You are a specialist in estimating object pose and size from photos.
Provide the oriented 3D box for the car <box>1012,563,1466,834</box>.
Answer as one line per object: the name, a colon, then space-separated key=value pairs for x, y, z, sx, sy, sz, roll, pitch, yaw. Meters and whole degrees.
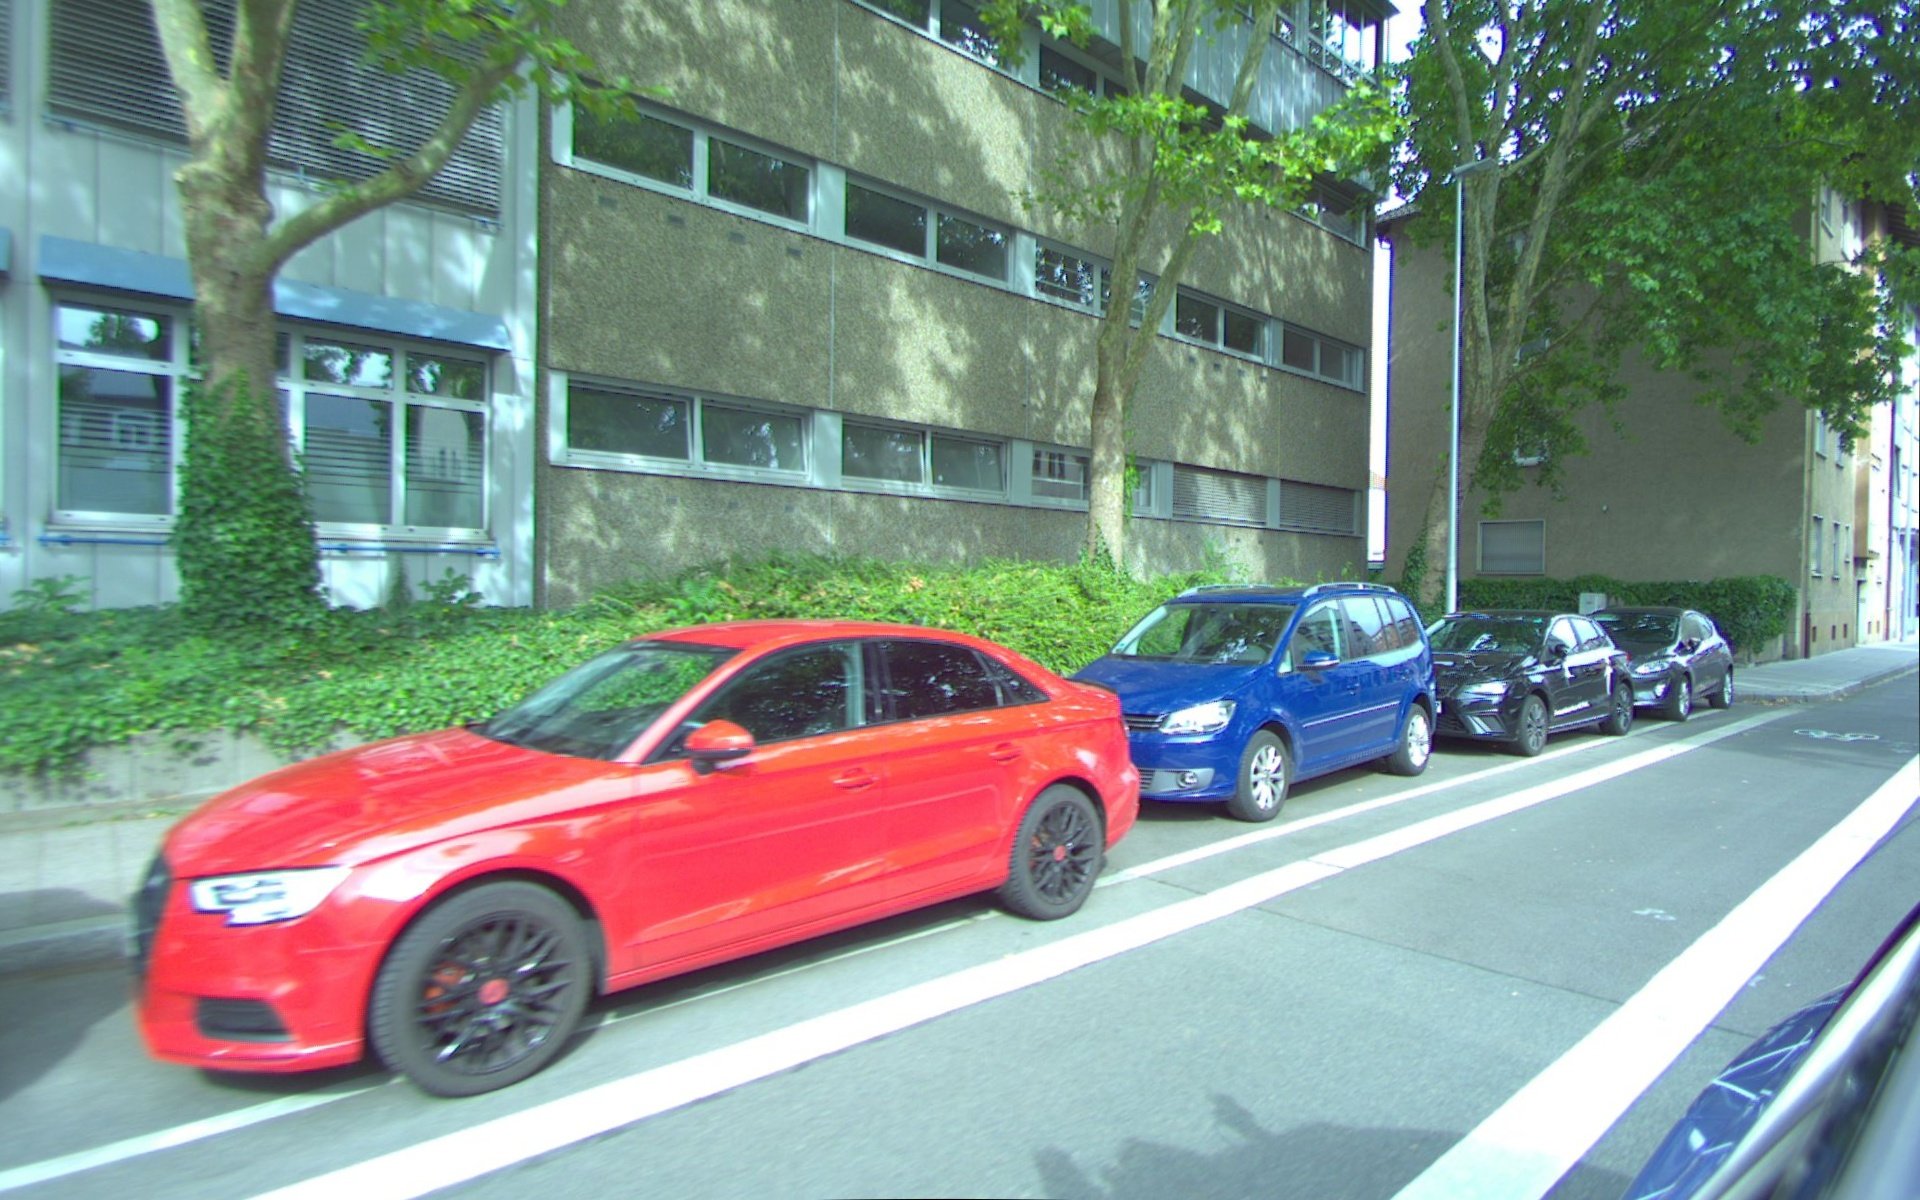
car: x=2.509 y=0.610 z=8.360 sx=4.346 sy=1.671 sz=1.659 roll=0 pitch=0 yaw=-44

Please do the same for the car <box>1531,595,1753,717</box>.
car: x=9.643 y=0.707 z=14.204 sx=3.798 sy=1.440 sz=1.661 roll=1 pitch=1 yaw=-41

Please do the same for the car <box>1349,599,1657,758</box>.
car: x=6.102 y=0.734 z=11.209 sx=3.876 sy=1.440 sz=1.661 roll=1 pitch=0 yaw=-39

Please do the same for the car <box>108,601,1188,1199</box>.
car: x=-0.964 y=0.737 z=4.573 sx=4.384 sy=1.411 sz=1.678 roll=0 pitch=1 yaw=-42
